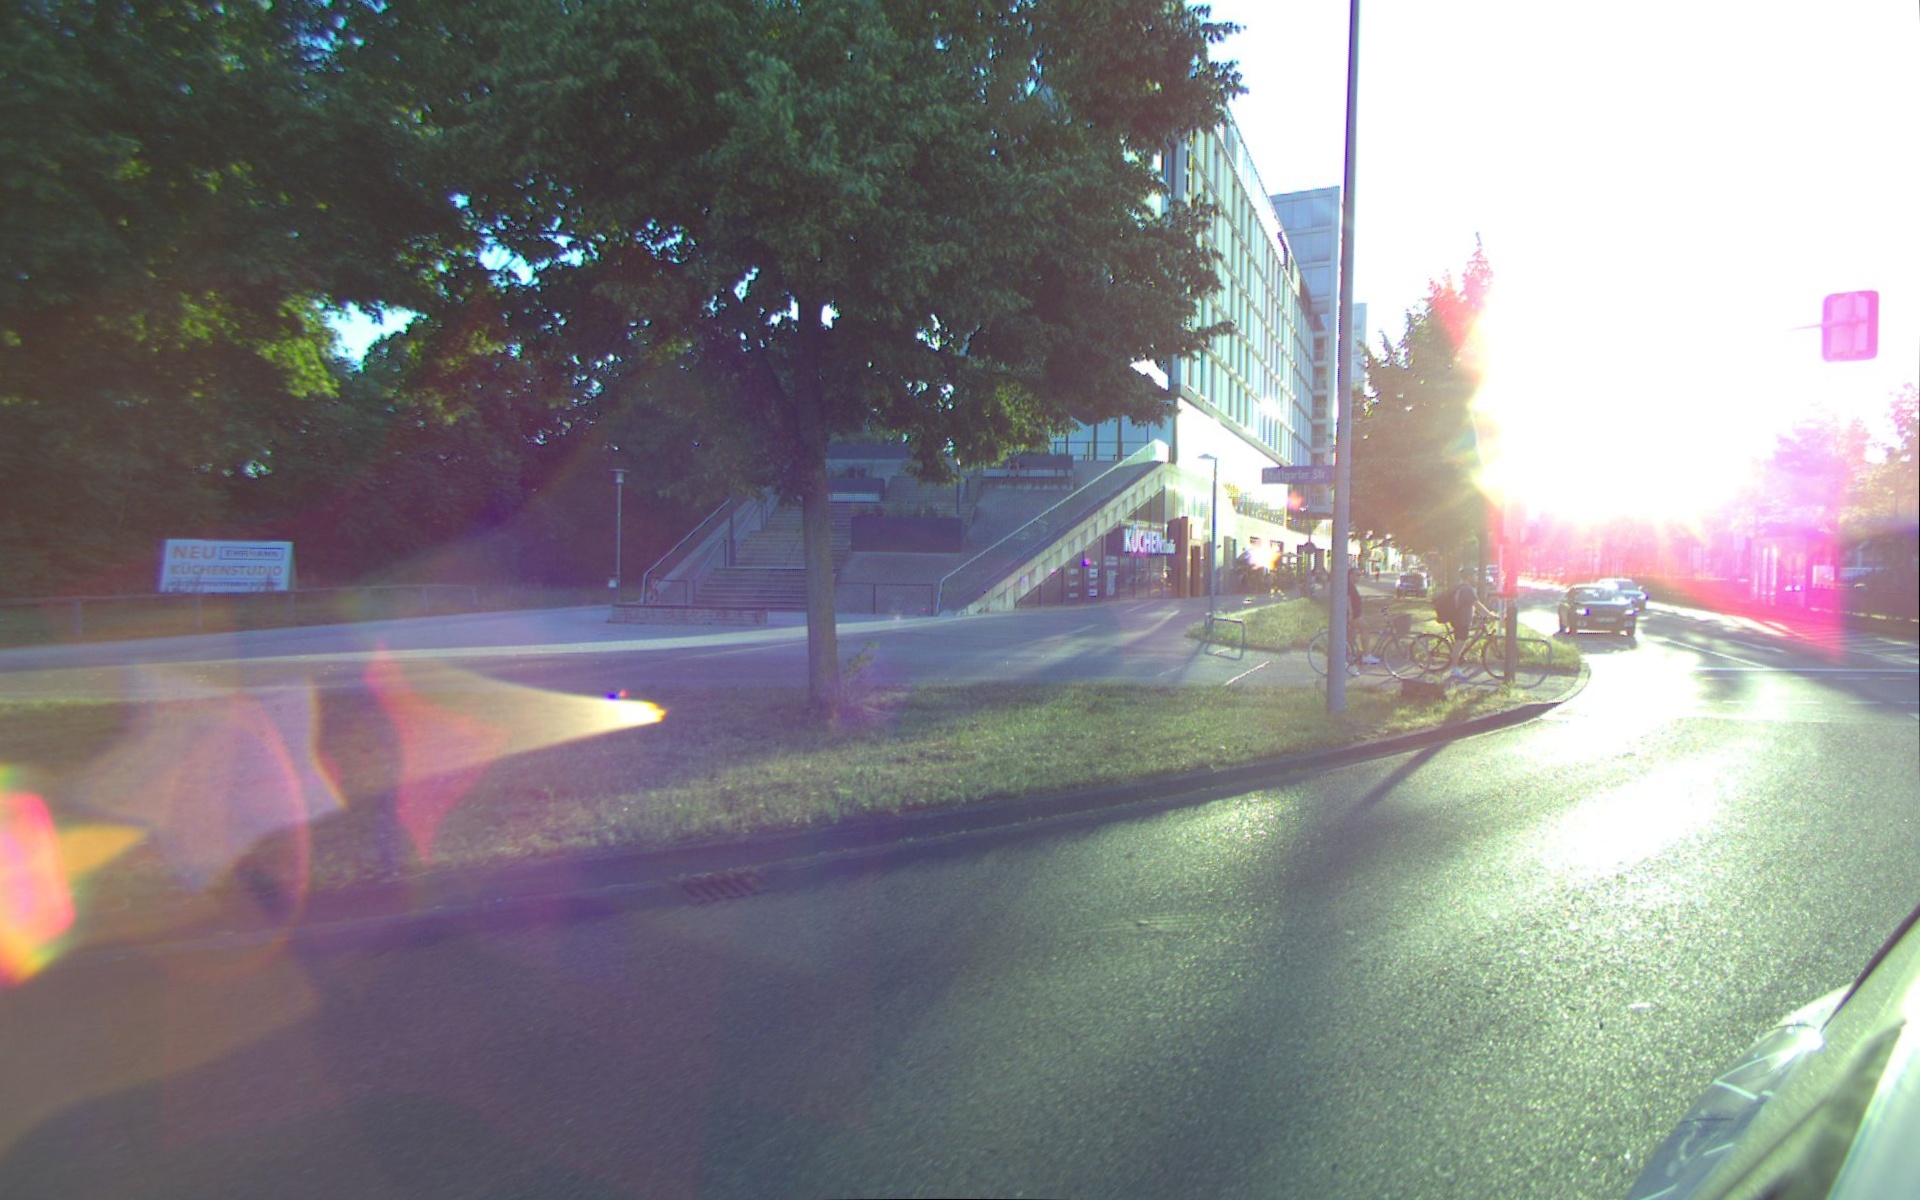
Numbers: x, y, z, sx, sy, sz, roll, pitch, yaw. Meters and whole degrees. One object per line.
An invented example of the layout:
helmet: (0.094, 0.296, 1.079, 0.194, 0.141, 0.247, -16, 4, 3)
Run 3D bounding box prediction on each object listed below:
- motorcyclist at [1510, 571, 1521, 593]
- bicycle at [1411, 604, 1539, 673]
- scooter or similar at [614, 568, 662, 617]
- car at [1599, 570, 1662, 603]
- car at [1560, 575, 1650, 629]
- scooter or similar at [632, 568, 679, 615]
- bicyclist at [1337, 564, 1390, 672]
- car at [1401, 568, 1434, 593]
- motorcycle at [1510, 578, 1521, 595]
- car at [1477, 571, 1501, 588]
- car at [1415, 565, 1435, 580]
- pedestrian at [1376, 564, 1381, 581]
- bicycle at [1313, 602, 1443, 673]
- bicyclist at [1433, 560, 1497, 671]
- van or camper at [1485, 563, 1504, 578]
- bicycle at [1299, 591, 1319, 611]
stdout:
motorcyclist: (37.769, -1.225, 68.812, 0.630, 1.433, 0.709, 1, 2, 25)
bicycle: (8.578, 0.622, 16.893, 1.850, 1.035, 0.432, 2, 2, 34)
scooter or similar: (-8.514, -0.216, 26.763, 1.568, 1.235, 0.362, 2, 2, 37)
car: (31.019, -0.642, 46.946, 1.785, 1.440, 4.411, 1, 2, 25)
car: (19.634, 0.008, 30.979, 1.785, 1.482, 3.966, 1, 2, 25)
scooter or similar: (-8.197, -0.241, 27.210, 1.568, 1.235, 0.362, 2, 2, 37)
bicyclist: (6.368, 0.265, 15.999, 0.675, 1.668, 0.680, 1, 1, 16)
car: (28.576, -1.230, 63.139, 1.785, 1.482, 3.966, 1, 2, 25)
motorcycle: (37.896, -0.918, 69.063, 0.552, 1.114, 2.141, 1, 2, 25)
car: (50.985, -2.007, 97.627, 1.873, 1.499, 4.017, 1, 3, 25)
car: (46.829, -2.786, 101.965, 1.785, 1.482, 3.966, 1, 2, 25)
pedestrian: (48.857, -3.229, 118.101, 0.533, 2.038, 0.523, 1, 1, 25)
bicycle: (6.515, 0.574, 15.851, 1.837, 1.035, 0.306, 1, 1, 17)
bicyclist: (8.389, 0.239, 16.807, 0.843, 1.777, 0.795, 1, 2, 33)
van or camper: (75.063, -4.196, 142.254, 1.979, 1.981, 5.286, 1, 3, 24)
bicycle: (16.619, 0.020, 48.122, 0.545, 0.862, 2.620, 1, 2, 27)
